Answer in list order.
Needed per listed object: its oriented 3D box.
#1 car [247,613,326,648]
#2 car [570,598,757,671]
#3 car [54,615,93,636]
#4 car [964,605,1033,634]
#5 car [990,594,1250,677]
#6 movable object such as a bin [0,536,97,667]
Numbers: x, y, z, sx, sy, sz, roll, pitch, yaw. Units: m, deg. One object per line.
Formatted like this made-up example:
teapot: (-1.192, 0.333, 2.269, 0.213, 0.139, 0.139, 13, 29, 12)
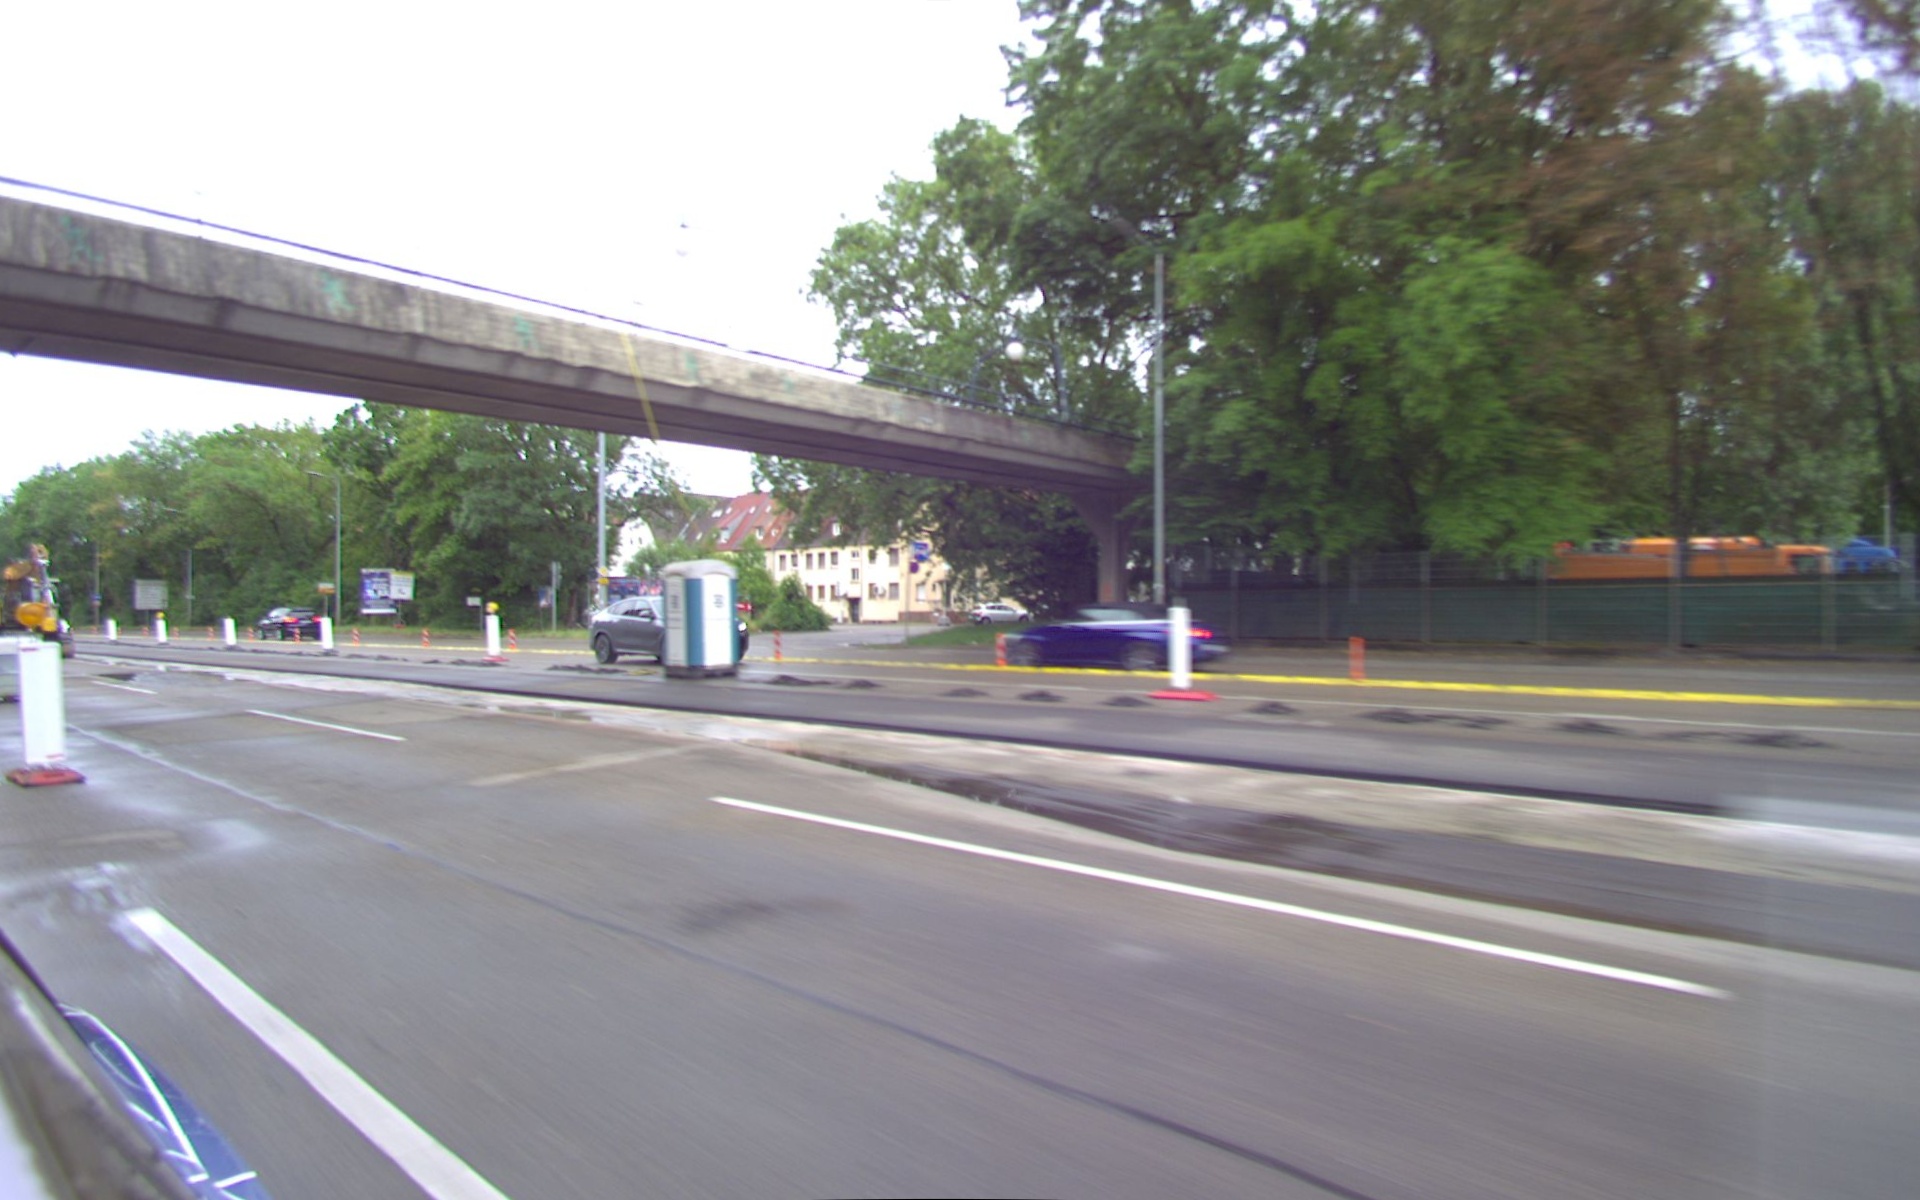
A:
car: (-36.057, 1.577, 54.131, 5.052, 1.752, 2.193, -1, 0, 40)
car: (-7.480, 0.804, 25.265, 5.052, 1.625, 2.055, -1, 0, 40)
car: (-71.478, 2.035, 81.548, 3.989, 1.546, 1.785, -1, 0, 40)
car: (2.466, 1.240, 65.524, 4.157, 1.763, 2.003, -1, 0, -8)
car: (3.122, 0.644, 20.421, 4.880, 1.470, 1.973, -1, 0, 40)
movable object such as a bin: (-36.800, 0.093, 39.305, 10.064, 4.555, 3.481, -1, 0, 41)
